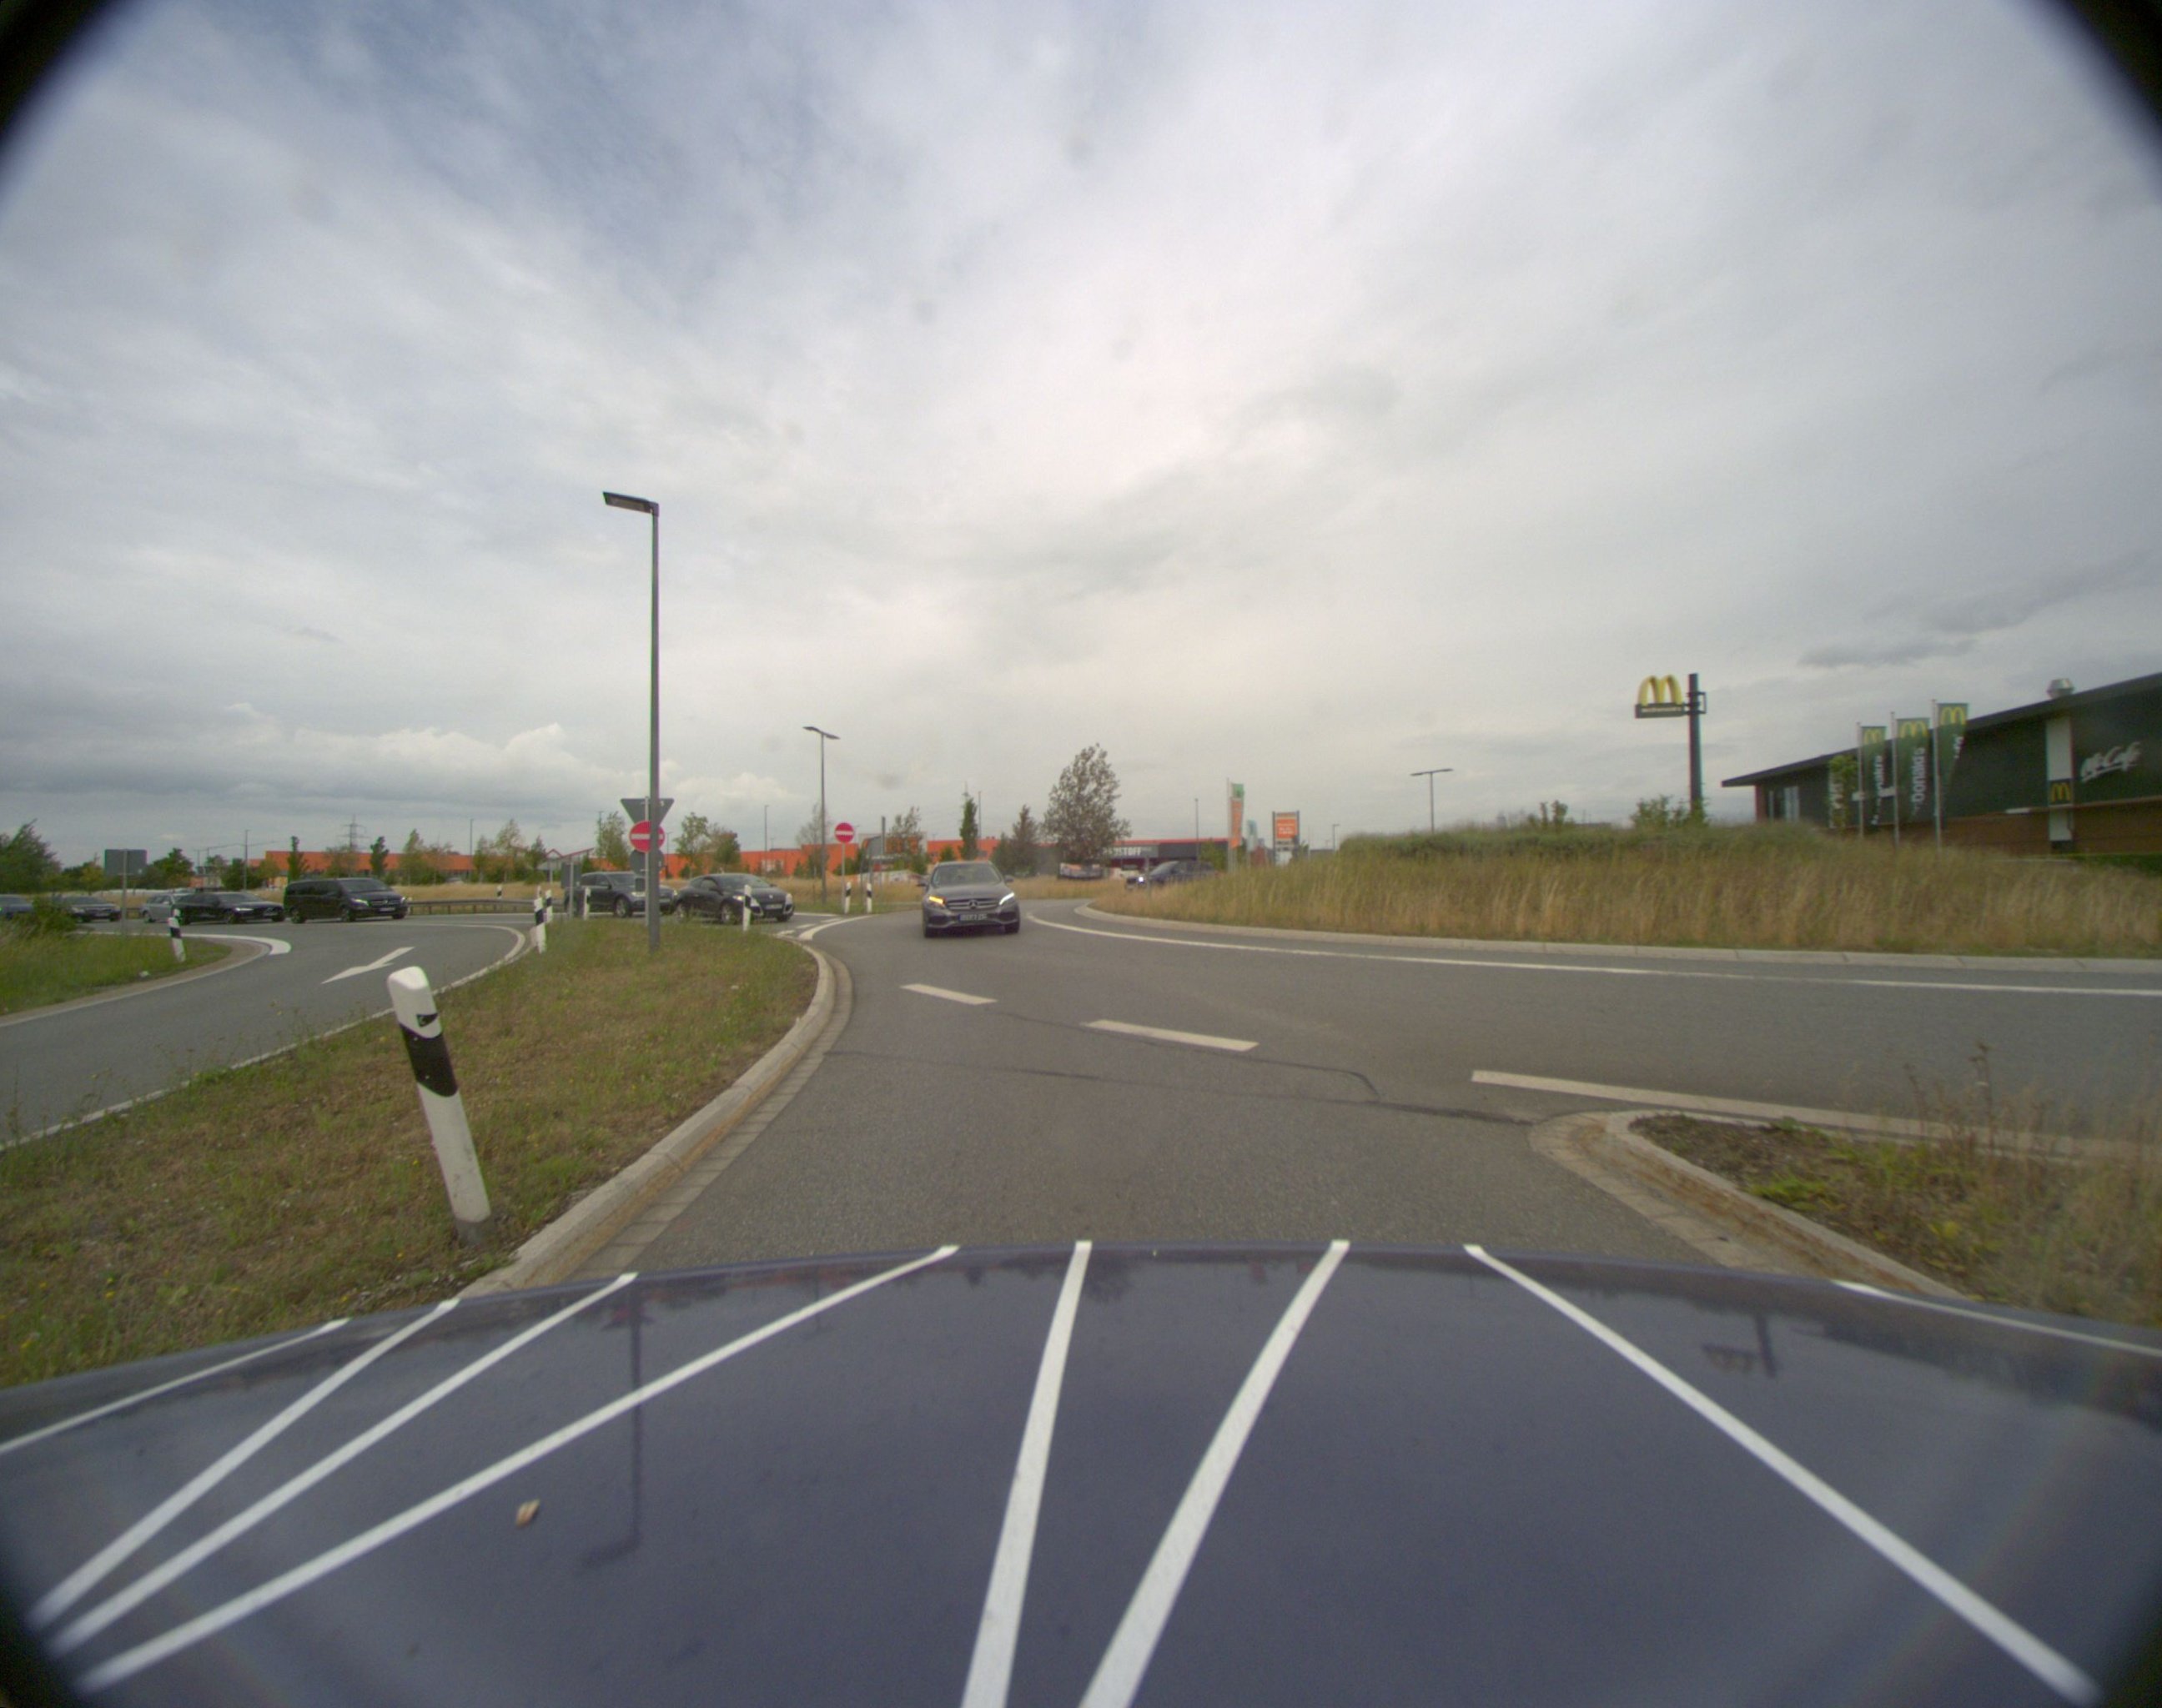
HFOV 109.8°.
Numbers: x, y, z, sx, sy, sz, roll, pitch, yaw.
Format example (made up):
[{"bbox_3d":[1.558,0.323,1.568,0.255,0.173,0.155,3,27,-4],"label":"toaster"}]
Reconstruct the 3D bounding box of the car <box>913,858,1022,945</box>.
[{"bbox_3d":[-2.470,0.890,15.900,1.908,1.488,4.335,-2,-1,-12],"label":"car"}]

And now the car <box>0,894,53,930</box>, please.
[{"bbox_3d":[-60.202,3.240,42.647,3.992,1.871,1.765,-2,0,18],"label":"car"}]

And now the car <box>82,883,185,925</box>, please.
[{"bbox_3d":[-46.118,2.426,36.990,3.992,1.871,1.809,-2,0,18],"label":"car"}]

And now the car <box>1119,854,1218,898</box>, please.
[{"bbox_3d":[3.996,1.006,34.650,4.004,1.708,1.841,-2,-3,-24],"label":"car"}]

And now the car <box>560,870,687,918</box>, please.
[{"bbox_3d":[-16.437,1.429,27.293,4.266,1.573,1.887,-2,0,27],"label":"car"}]

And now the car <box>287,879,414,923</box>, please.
[{"bbox_3d":[-30.659,1.970,31.895,4.736,1.711,1.724,-2,0,18],"label":"car"}]

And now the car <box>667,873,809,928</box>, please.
[{"bbox_3d":[-9.740,1.272,21.488,4.133,1.362,1.847,-2,0,37],"label":"car"}]

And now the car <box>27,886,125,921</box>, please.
[{"bbox_3d":[-52.671,2.596,39.840,3.992,1.654,1.765,-2,0,16],"label":"car"}]

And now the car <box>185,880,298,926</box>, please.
[{"bbox_3d":[-38.060,2.212,34.477,3.992,1.871,1.808,-2,0,15],"label":"car"}]
